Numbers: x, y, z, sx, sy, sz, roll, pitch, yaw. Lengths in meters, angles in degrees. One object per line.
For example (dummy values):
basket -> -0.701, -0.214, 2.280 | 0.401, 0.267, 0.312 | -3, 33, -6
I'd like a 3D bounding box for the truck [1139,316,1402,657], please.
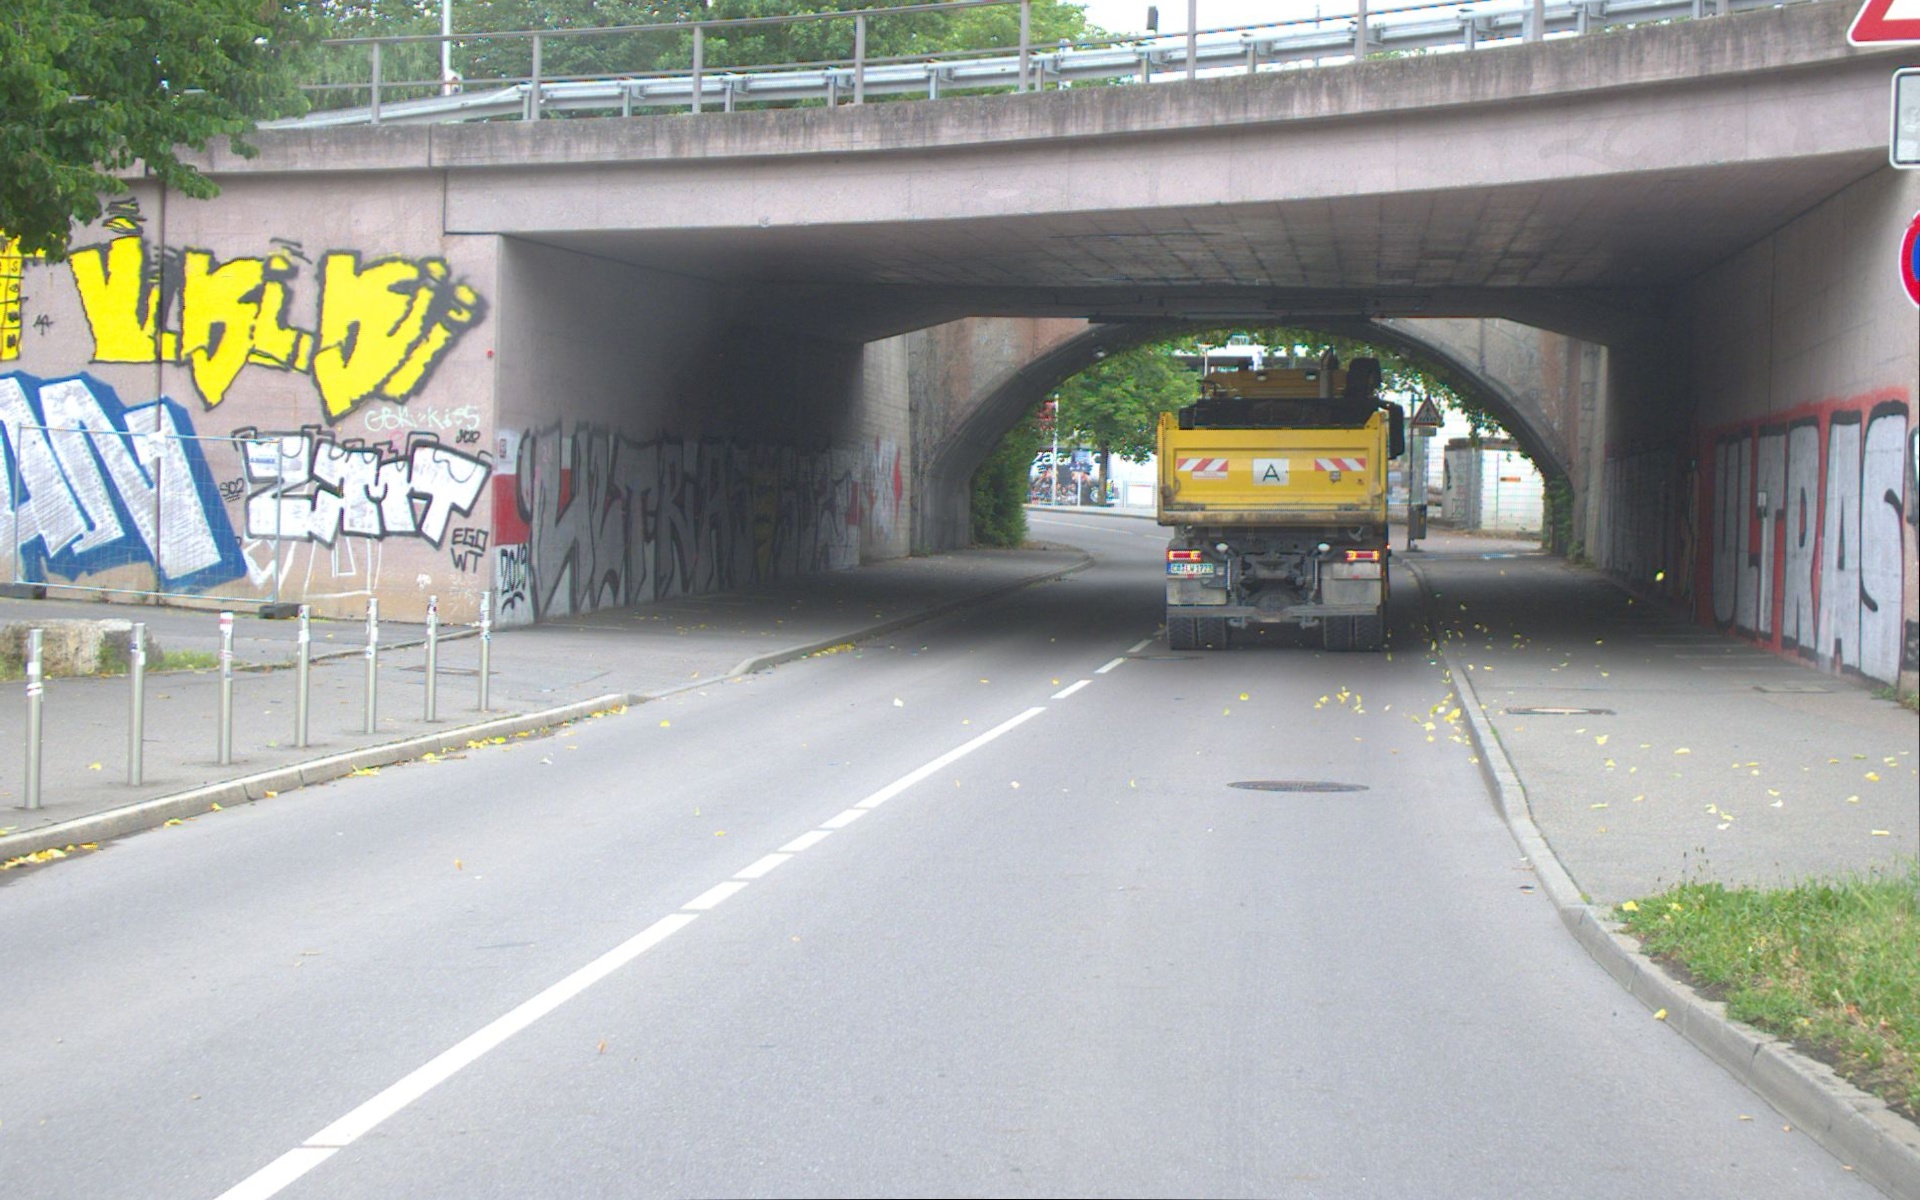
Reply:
truck -> 3.920, -1.341, 42.156 | 2.759, 3.686, 7.878 | 3, 1, 7
